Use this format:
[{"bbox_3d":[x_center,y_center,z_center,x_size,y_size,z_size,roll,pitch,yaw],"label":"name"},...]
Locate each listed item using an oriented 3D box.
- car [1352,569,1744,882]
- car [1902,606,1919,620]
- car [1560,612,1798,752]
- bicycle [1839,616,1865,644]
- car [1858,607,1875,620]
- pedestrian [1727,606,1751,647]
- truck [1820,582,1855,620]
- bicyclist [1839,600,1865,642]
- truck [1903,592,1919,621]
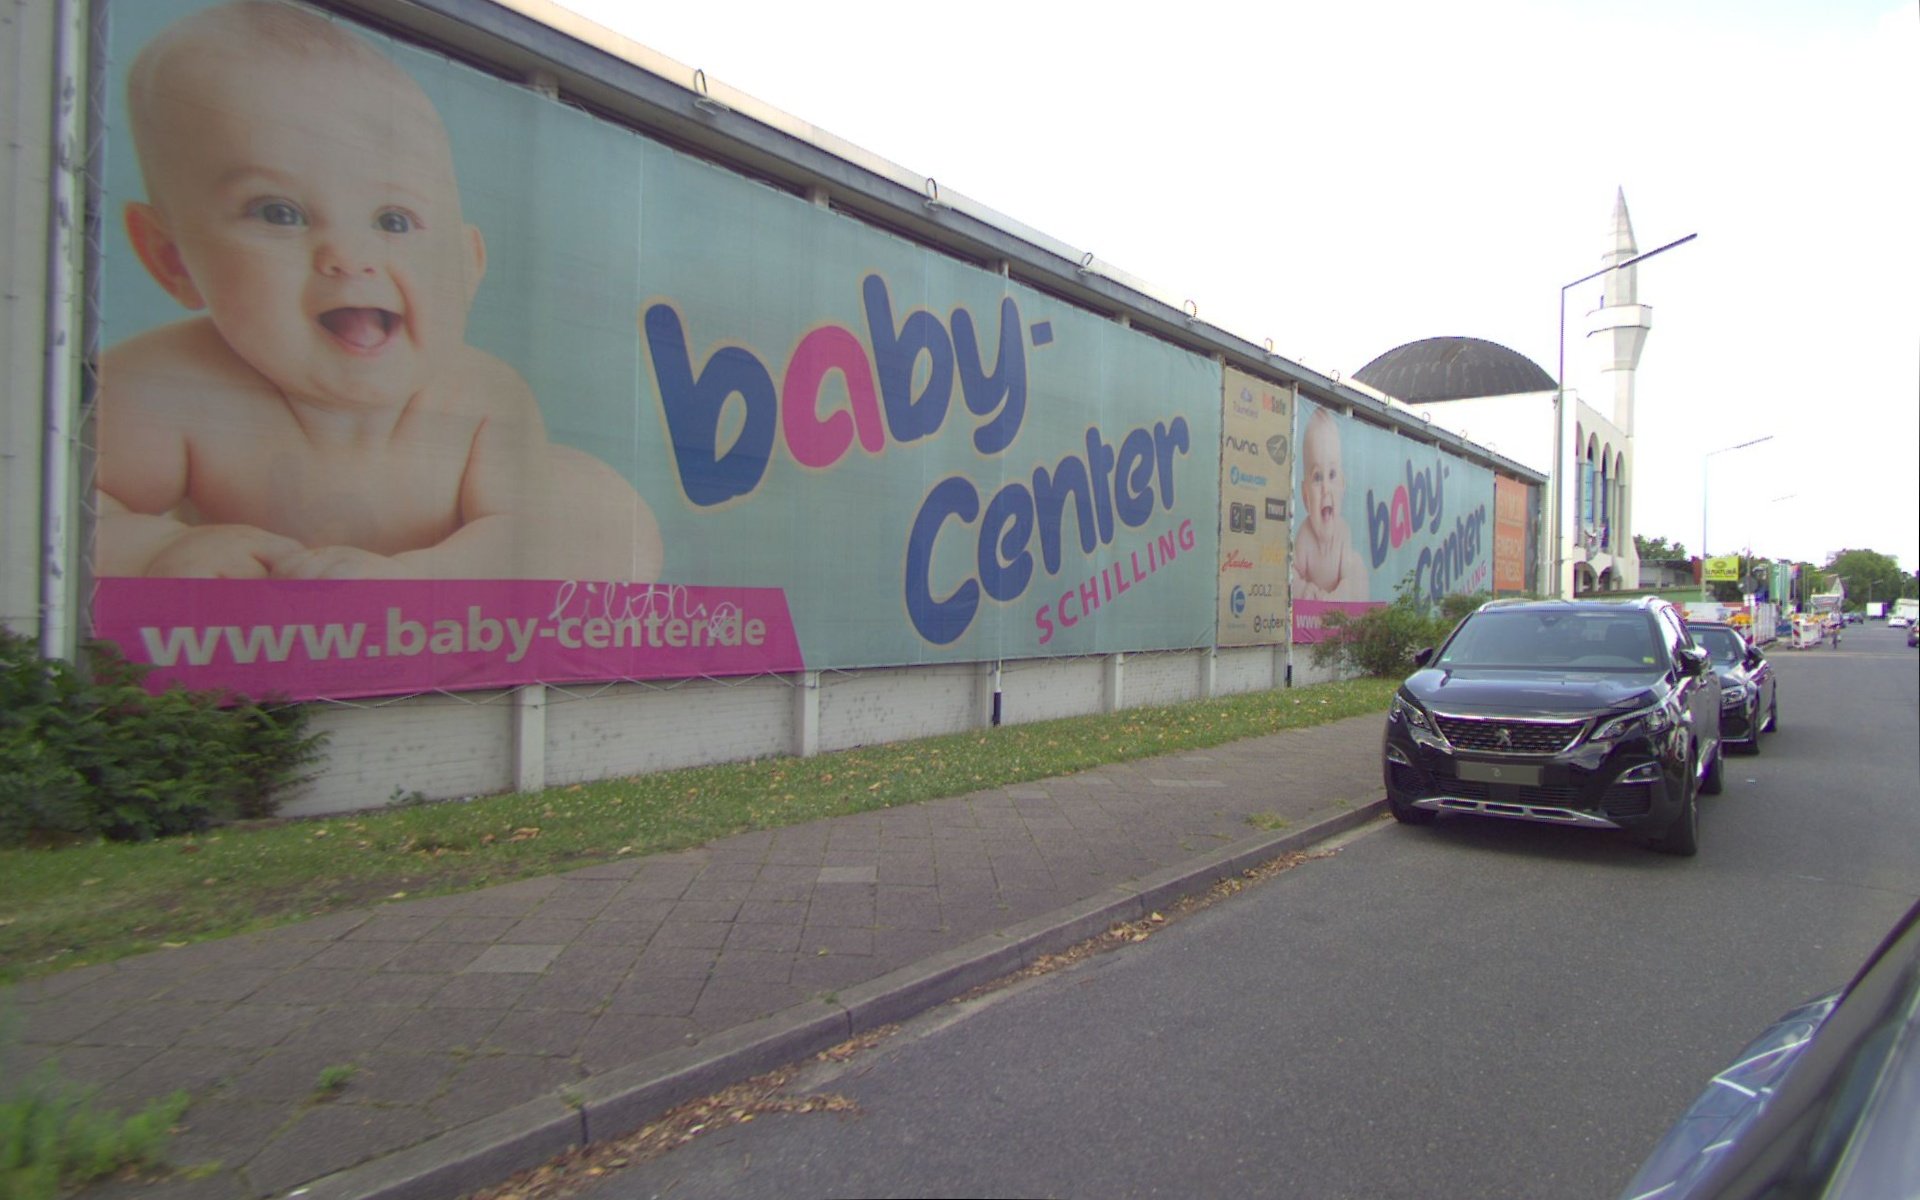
[{"bbox_3d":[4.763,0.719,7.824,1.805,1.687,4.571,-2,-2,40],"label":"car"},{"bbox_3d":[112.441,1.537,119.380,1.682,1.488,3.558,3,1,41],"label":"car"},{"bbox_3d":[9.050,0.876,12.570,1.807,1.409,4.516,-2,-2,43],"label":"car"},{"bbox_3d":[39.056,1.294,44.310,0.797,1.195,2.588,-1,-1,41],"label":"bicycle"},{"bbox_3d":[135.600,1.996,151.360,1.791,1.916,3.940,1,0,41],"label":"car"},{"bbox_3d":[30.272,1.006,39.304,0.680,1.553,1.114,1,0,40],"label":"pedestrian"},{"bbox_3d":[99.355,0.167,114.605,2.775,4.170,8.153,-2,-2,42],"label":"truck"},{"bbox_3d":[39.034,0.904,44.285,0.805,1.815,1.189,-2,-1,41],"label":"bicyclist"},{"bbox_3d":[130.744,0.860,138.076,2.746,3.768,7.065,3,2,41],"label":"truck"}]
